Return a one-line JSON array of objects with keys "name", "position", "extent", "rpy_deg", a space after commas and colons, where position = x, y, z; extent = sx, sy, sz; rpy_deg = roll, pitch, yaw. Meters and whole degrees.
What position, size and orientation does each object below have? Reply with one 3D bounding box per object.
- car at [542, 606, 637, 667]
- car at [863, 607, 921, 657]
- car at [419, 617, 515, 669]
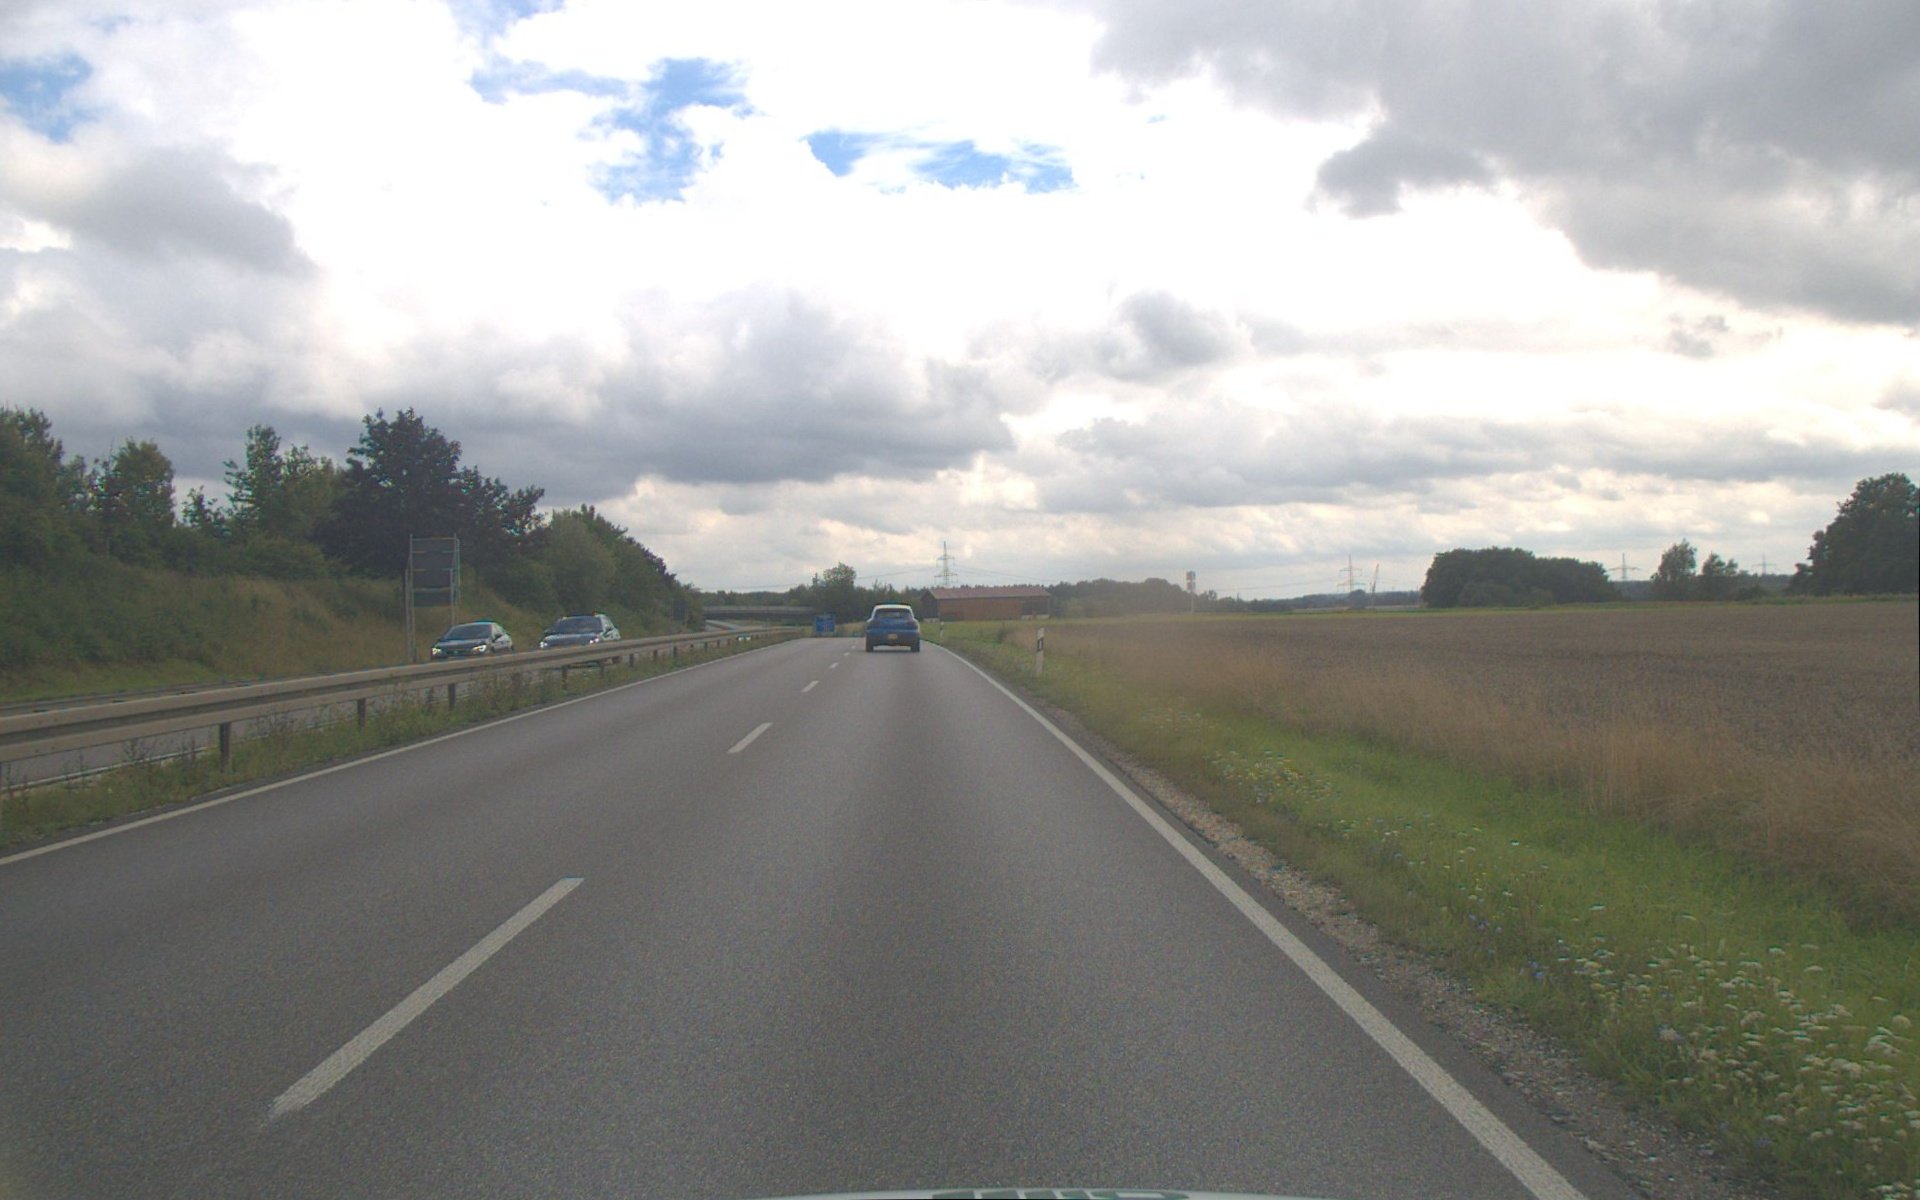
[{"name": "car", "position": [-10.339, 0.987, 46.480], "extent": [1.719, 1.512, 4.575], "rpy_deg": [-1, 1, -2]}, {"name": "car", "position": [-2.388, 1.091, 58.756], "extent": [1.992, 1.689, 4.541], "rpy_deg": [0, 0, -2]}, {"name": "car", "position": [-14.736, 1.243, 49.639], "extent": [1.657, 1.347, 4.415], "rpy_deg": [-1, 1, -2]}]
